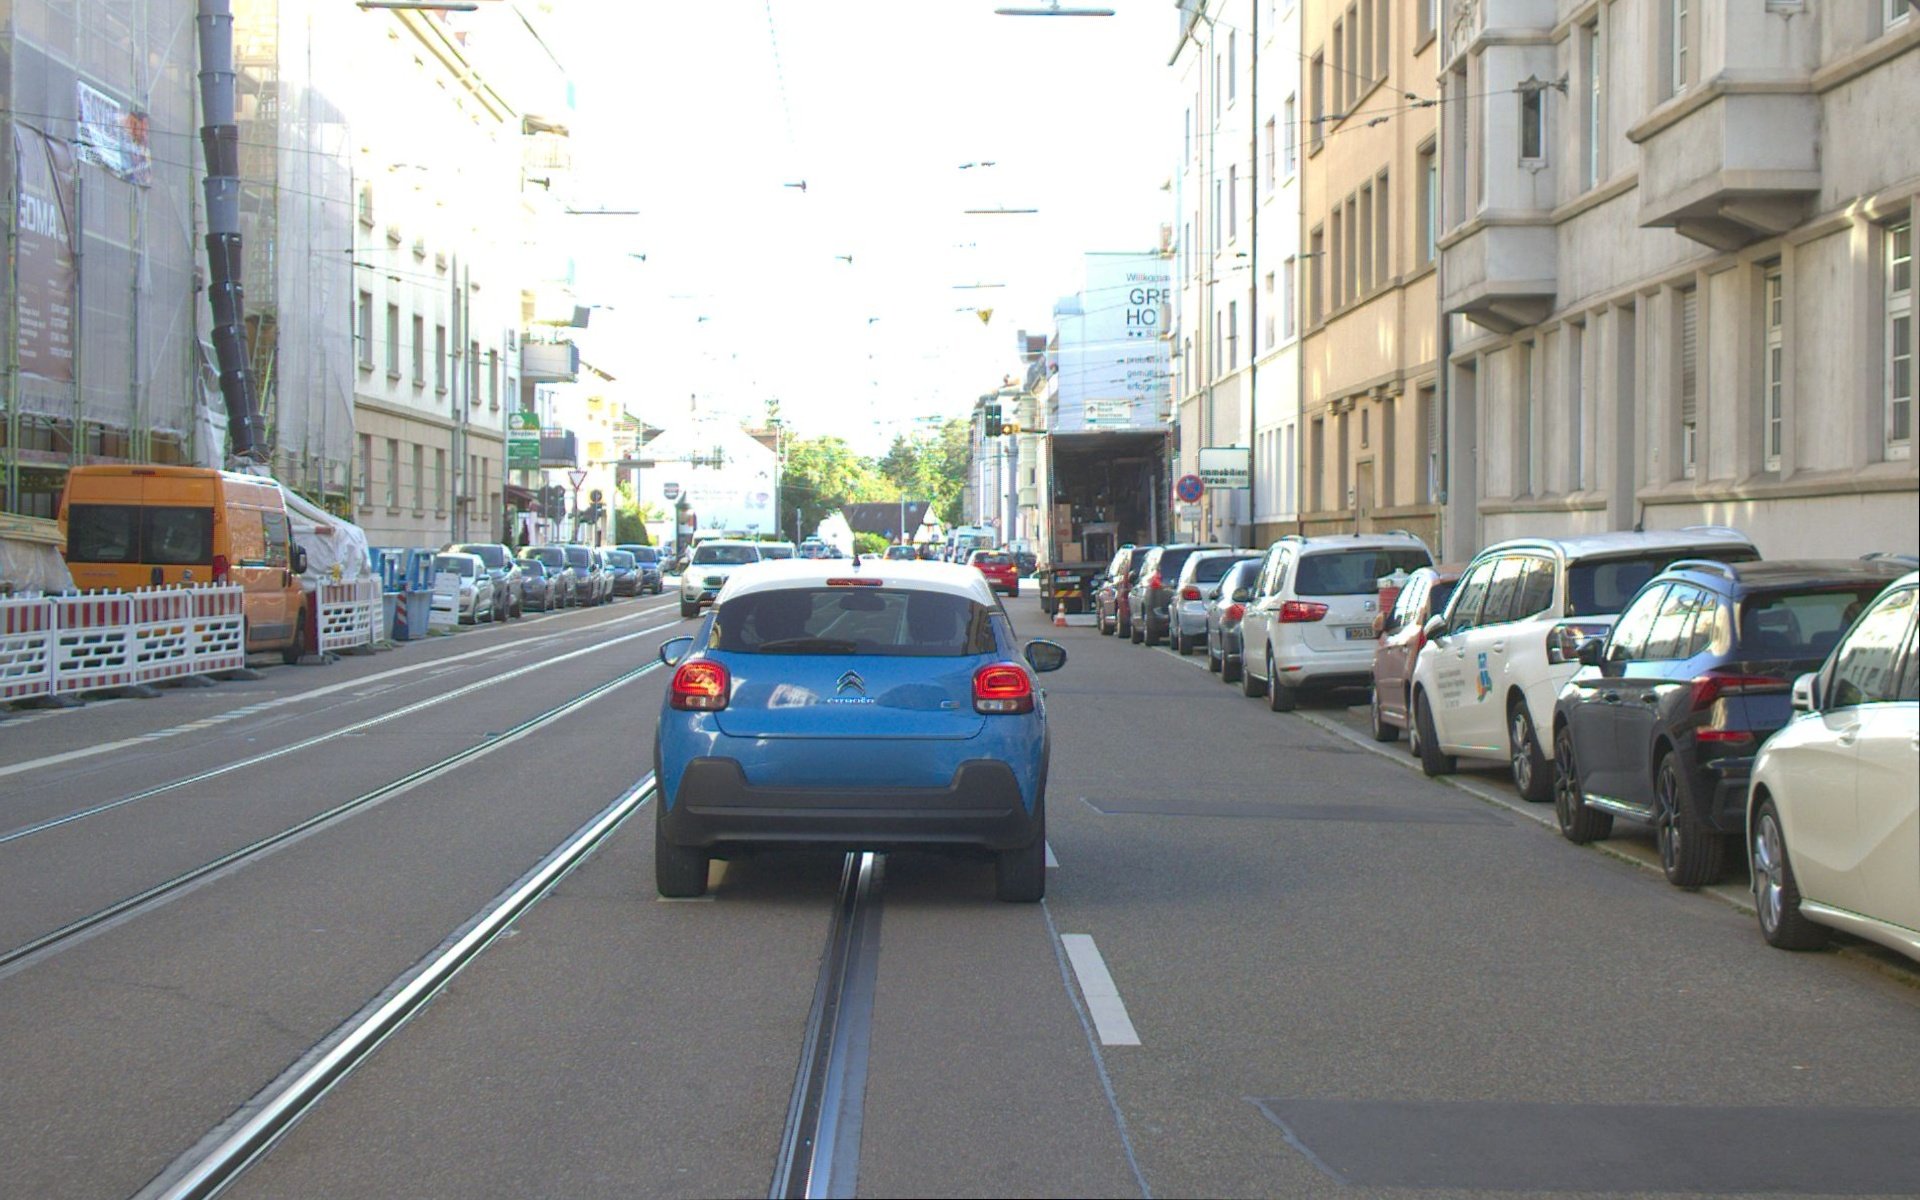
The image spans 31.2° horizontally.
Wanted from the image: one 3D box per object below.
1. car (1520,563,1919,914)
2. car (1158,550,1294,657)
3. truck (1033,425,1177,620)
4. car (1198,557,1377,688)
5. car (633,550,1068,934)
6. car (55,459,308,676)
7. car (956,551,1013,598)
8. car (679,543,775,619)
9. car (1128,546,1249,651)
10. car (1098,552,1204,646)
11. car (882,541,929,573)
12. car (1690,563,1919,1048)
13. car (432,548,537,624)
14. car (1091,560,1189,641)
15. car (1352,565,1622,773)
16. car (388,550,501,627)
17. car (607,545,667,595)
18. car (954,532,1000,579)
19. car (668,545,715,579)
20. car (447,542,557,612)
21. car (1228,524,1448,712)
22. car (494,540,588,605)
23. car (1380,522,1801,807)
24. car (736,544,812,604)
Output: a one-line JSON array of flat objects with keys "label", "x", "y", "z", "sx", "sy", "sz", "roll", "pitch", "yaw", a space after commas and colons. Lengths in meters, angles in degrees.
[{"label": "car", "x": 4.066, "y": 0.601, "z": 17.645, "sx": 1.655, "sy": 1.561, "sz": 4.338, "roll": 0, "pitch": 1, "yaw": 0}, {"label": "car", "x": 3.899, "y": 0.021, "z": 50.952, "sx": 1.664, "sy": 1.514, "sz": 4.222, "roll": 0, "pitch": 1, "yaw": 0}, {"label": "truck", "x": 3.155, "y": -1.703, "z": 77.556, "sx": 2.853, "sy": 4.069, "sz": 11.271, "roll": 0, "pitch": 1, "yaw": 1}, {"label": "car", "x": 3.888, "y": 0.227, "z": 41.392, "sx": 1.722, "sy": 1.481, "sz": 4.222, "roll": 0, "pitch": 1, "yaw": 0}, {"label": "car", "x": -0.465, "y": 0.556, "z": 16.149, "sx": 1.735, "sy": 1.502, "sz": 3.993, "roll": 2, "pitch": 1, "yaw": 0}, {"label": "car", "x": -9.362, "y": -0.416, "z": 41.752, "sx": 2.144, "sy": 2.467, "sz": 4.981, "roll": 0, "pitch": 1, "yaw": -3}, {"label": "car", "x": 0.767, "y": -0.828, "z": 110.726, "sx": 1.765, "sy": 1.481, "sz": 4.032, "roll": 0, "pitch": 1, "yaw": 0}, {"label": "car", "x": -5.120, "y": -0.440, "z": 76.043, "sx": 1.826, "sy": 1.626, "sz": 4.490, "roll": 0, "pitch": 1, "yaw": 0}, {"label": "car", "x": 3.675, "y": -0.056, "z": 55.854, "sx": 1.664, "sy": 1.641, "sz": 4.222, "roll": 0, "pitch": 1, "yaw": 0}, {"label": "car", "x": 3.407, "y": -0.049, "z": 61.875, "sx": 1.664, "sy": 1.627, "sz": 3.871, "roll": 0, "pitch": 1, "yaw": 0}, {"label": "car", "x": -2.573, "y": -2.069, "z": 163.298, "sx": 2.180, "sy": 1.481, "sz": 4.160, "roll": 0, "pitch": 1, "yaw": 0}, {"label": "car", "x": 4.027, "y": 0.664, "z": 12.524, "sx": 1.783, "sy": 1.570, "sz": 4.326, "roll": 0, "pitch": 1, "yaw": 0}, {"label": "car", "x": -10.240, "y": -0.331, "z": 74.272, "sx": 1.714, "sy": 1.588, "sz": 4.267, "roll": 0, "pitch": 1, "yaw": 0}, {"label": "car", "x": 3.444, "y": -0.015, "z": 66.356, "sx": 1.664, "sy": 1.481, "sz": 4.032, "roll": 0, "pitch": 1, "yaw": 0}, {"label": "car", "x": 4.205, "y": 0.509, "z": 27.873, "sx": 1.614, "sy": 1.555, "sz": 3.600, "roll": 0, "pitch": 1, "yaw": 0}, {"label": "car", "x": -10.426, "y": -0.249, "z": 69.745, "sx": 1.714, "sy": 1.512, "sz": 4.047, "roll": 0, "pitch": 1, "yaw": 0}, {"label": "car", "x": -10.738, "y": -1.015, "z": 114.407, "sx": 1.826, "sy": 1.626, "sz": 3.906, "roll": 0, "pitch": 1, "yaw": -3}, {"label": "car", "x": 0.812, "y": -2.189, "z": 169.725, "sx": 2.220, "sy": 2.276, "sz": 4.084, "roll": 0, "pitch": 1, "yaw": 0}, {"label": "car", "x": -12.700, "y": -1.806, "z": 162.592, "sx": 1.901, "sy": 1.626, "sz": 4.267, "roll": 0, "pitch": 1, "yaw": 0}, {"label": "car", "x": -10.920, "y": -0.564, "z": 82.249, "sx": 2.144, "sy": 1.616, "sz": 4.000, "roll": 0, "pitch": 1, "yaw": -1}, {"label": "car", "x": 3.848, "y": 0.140, "z": 35.678, "sx": 1.730, "sy": 1.821, "sz": 4.687, "roll": 0, "pitch": 1, "yaw": 0}, {"label": "car", "x": -10.691, "y": -0.721, "z": 88.023, "sx": 1.826, "sy": 1.626, "sz": 4.849, "roll": 0, "pitch": 1, "yaw": 0}, {"label": "car", "x": 4.147, "y": 0.360, "z": 23.365, "sx": 1.654, "sy": 1.746, "sz": 4.604, "roll": 0, "pitch": 1, "yaw": -5}, {"label": "car", "x": -5.165, "y": -0.751, "z": 96.045, "sx": 1.901, "sy": 1.626, "sz": 4.267, "roll": 0, "pitch": 1, "yaw": 0}]
